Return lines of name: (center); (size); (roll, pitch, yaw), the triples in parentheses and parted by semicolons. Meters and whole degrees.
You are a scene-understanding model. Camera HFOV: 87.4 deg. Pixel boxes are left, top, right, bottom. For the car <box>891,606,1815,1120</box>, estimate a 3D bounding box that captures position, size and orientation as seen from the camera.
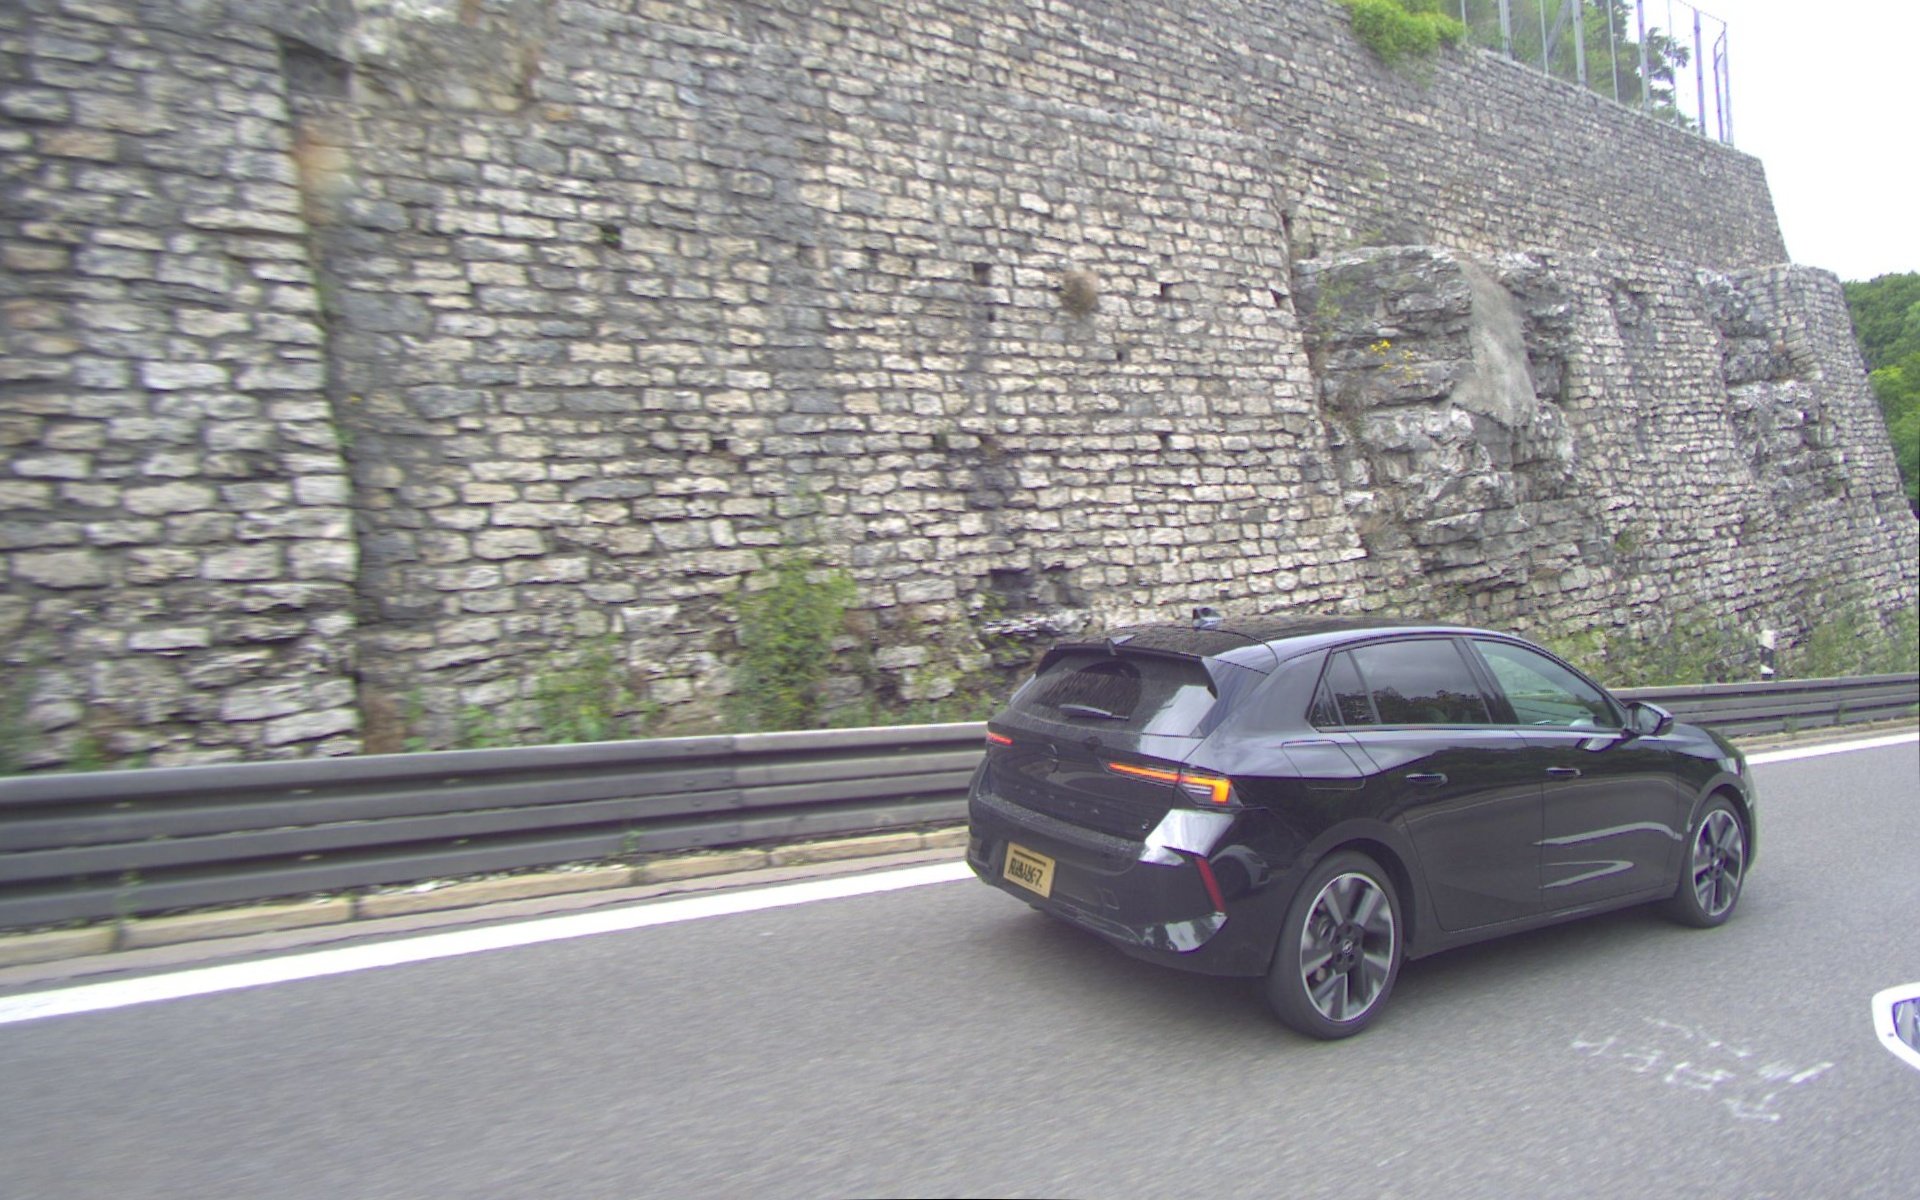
car: (2.084, 0.807, 4.849); (4.528, 1.480, 1.764); (1, 0, -31)
